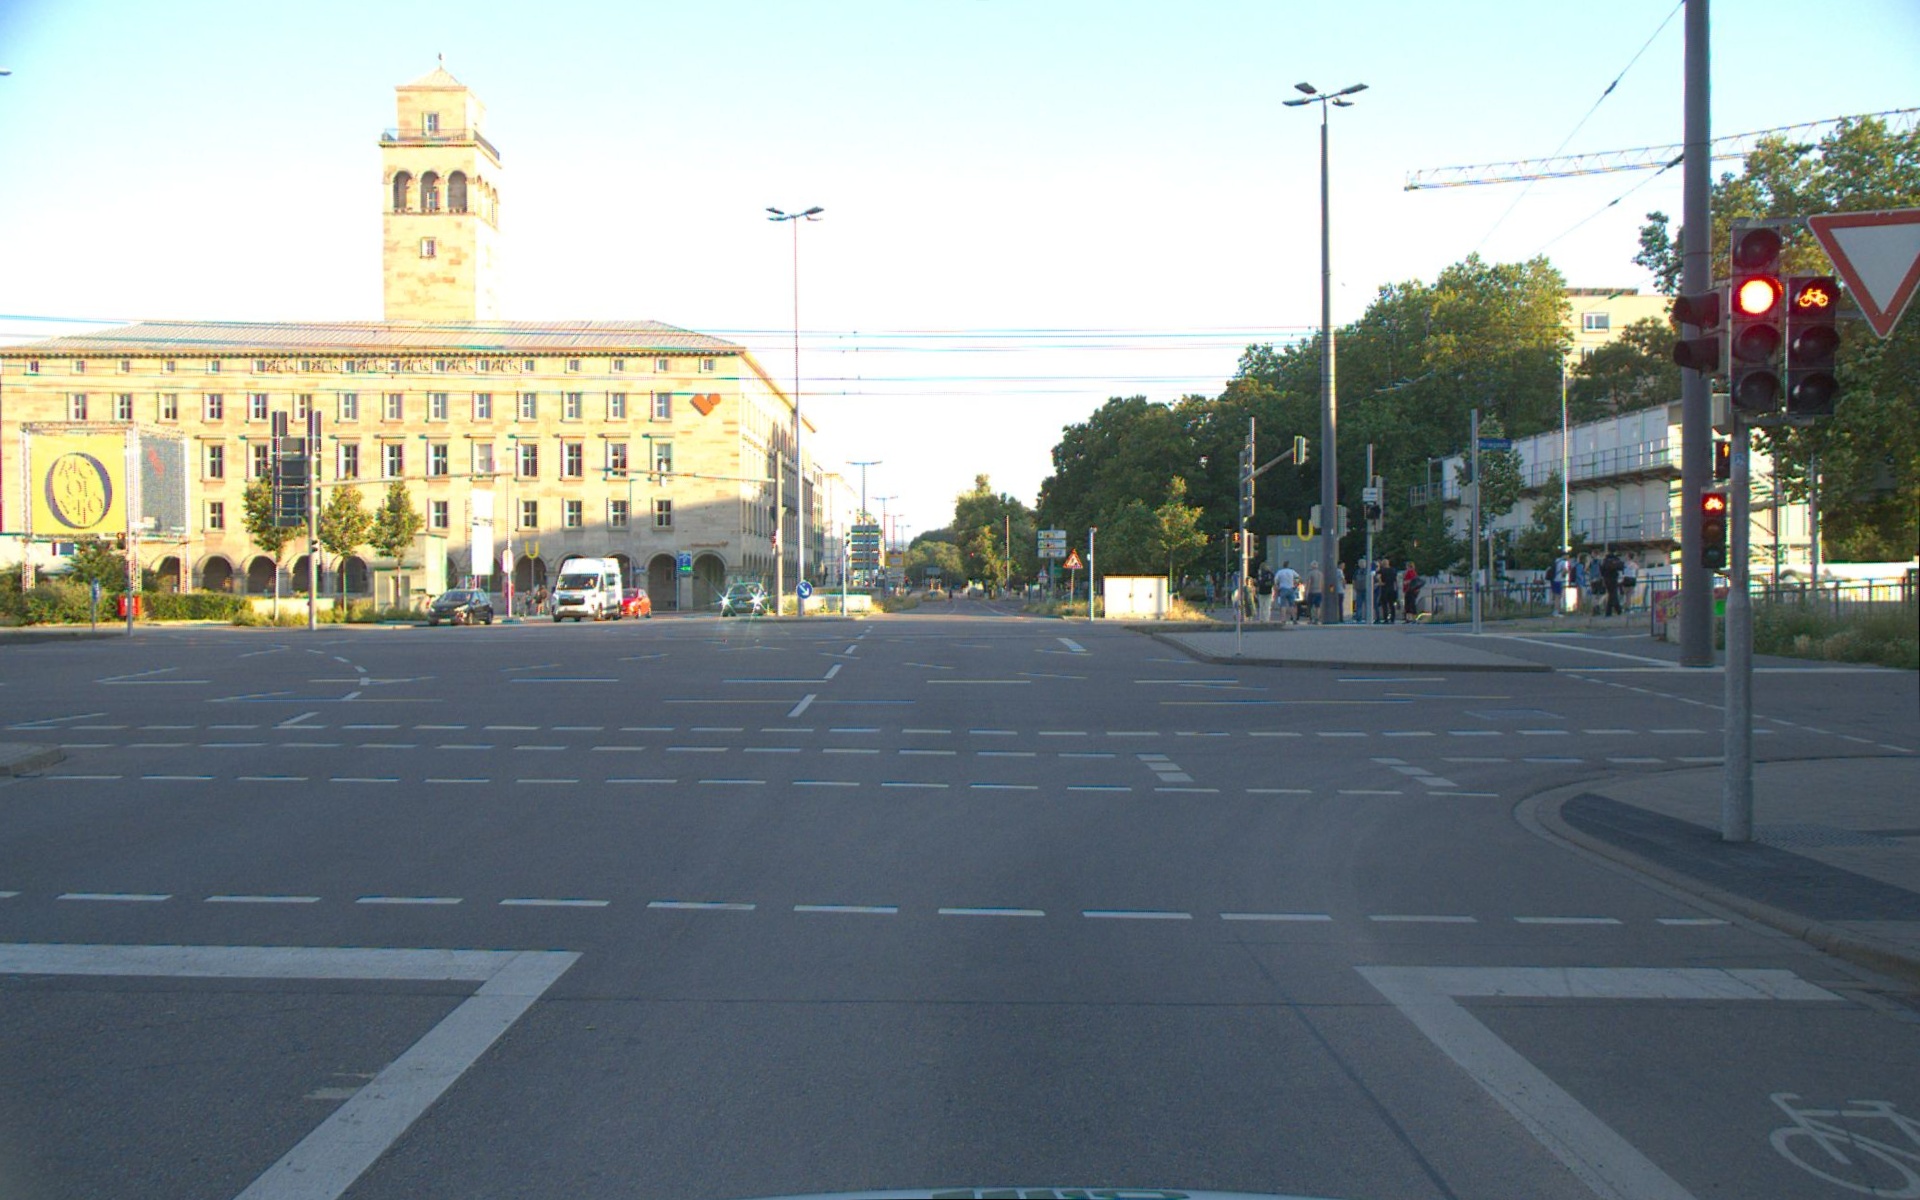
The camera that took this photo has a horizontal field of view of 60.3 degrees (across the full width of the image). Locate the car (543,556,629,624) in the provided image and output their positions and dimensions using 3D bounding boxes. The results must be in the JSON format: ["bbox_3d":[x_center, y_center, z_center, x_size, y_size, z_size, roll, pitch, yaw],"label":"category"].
[{"bbox_3d":[-16.244,-0.462,72.231,2.232,2.824,6.085,-1,1,1],"label":"car"}]

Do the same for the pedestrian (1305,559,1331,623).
[{"bbox_3d":[9.935,-0.261,45.927,0.695,1.755,0.669,0,1,13],"label":"pedestrian"}]

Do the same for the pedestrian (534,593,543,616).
[{"bbox_3d":[-23.980,0.254,94.178,0.412,1.323,0.459,1,-1,-6],"label":"pedestrian"}]

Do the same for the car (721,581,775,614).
[{"bbox_3d":[-9.255,-0.125,72.486,1.785,1.365,4.001,0,1,1],"label":"car"}]

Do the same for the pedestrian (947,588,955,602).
[{"bbox_3d":[-1.049,-0.584,194.776,0.888,1.700,1.306,-1,1,-2],"label":"pedestrian"}]

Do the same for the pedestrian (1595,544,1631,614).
[{"bbox_3d":[16.685,-0.541,42.280,0.652,1.755,0.713,0,1,0],"label":"pedestrian"}]

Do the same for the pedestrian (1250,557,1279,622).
[{"bbox_3d":[8.321,-0.290,45.213,0.696,1.755,0.916,0,1,7],"label":"pedestrian"}]

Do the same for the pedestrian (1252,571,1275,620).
[{"bbox_3d":[11.174,-0.165,60.845,0.665,1.788,0.902,0,1,20],"label":"pedestrian"}]

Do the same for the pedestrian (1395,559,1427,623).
[{"bbox_3d":[12.598,-0.258,46.215,0.826,1.764,0.706,0,1,11],"label":"pedestrian"}]

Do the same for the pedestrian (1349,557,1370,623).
[{"bbox_3d":[11.061,-0.284,45.831,0.560,1.822,0.639,0,1,13],"label":"pedestrian"}]

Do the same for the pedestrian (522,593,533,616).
[{"bbox_3d":[-24.746,0.269,94.582,0.496,1.323,0.700,1,-1,-6],"label":"pedestrian"}]

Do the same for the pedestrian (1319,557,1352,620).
[{"bbox_3d":[10.623,-0.335,46.767,0.892,1.755,0.714,0,1,12],"label":"pedestrian"}]

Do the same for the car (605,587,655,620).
[{"bbox_3d":[-16.121,0.144,80.930,1.703,1.513,4.000,-1,1,-1],"label":"car"}]

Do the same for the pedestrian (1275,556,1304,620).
[{"bbox_3d":[9.181,-0.333,46.079,0.696,1.755,0.669,0,1,4],"label":"pedestrian"}]

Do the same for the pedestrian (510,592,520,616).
[{"bbox_3d":[-25.468,0.238,94.572,0.465,1.323,0.463,1,-1,-6],"label":"pedestrian"}]

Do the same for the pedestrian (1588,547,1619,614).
[{"bbox_3d":[16.996,-0.513,43.702,0.696,1.755,0.669,0,1,16],"label":"pedestrian"}]

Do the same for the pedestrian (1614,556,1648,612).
[{"bbox_3d":[17.880,-0.432,44.064,0.661,1.466,0.715,-1,0,6],"label":"pedestrian"}]

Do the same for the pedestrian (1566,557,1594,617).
[{"bbox_3d":[16.889,-0.363,45.080,0.559,1.620,0.536,-1,0,-1],"label":"pedestrian"}]

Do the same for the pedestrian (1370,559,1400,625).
[{"bbox_3d":[11.791,-0.229,45.870,0.788,1.822,0.801,0,1,13],"label":"pedestrian"}]

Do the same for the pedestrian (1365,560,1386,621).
[{"bbox_3d":[11.888,-0.277,47.306,0.560,1.708,0.639,0,1,13],"label":"pedestrian"}]

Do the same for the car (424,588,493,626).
[{"bbox_3d":[-21.161,0.283,69.948,1.786,1.491,4.156,-1,1,-2],"label":"car"}]

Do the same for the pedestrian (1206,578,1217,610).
[{"bbox_3d":[14.283,-0.332,93.882,0.628,1.791,0.525,0,1,7],"label":"pedestrian"}]

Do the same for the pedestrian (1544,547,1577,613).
[{"bbox_3d":[16.046,-0.529,44.203,0.652,1.755,0.713,0,1,4],"label":"pedestrian"}]

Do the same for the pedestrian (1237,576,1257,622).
[{"bbox_3d":[10.572,-0.043,60.932,0.548,1.683,0.902,0,1,20],"label":"pedestrian"}]

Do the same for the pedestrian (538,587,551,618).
[{"bbox_3d":[-23.971,0.144,95.383,0.609,1.774,0.459,1,-1,-6],"label":"pedestrian"}]
